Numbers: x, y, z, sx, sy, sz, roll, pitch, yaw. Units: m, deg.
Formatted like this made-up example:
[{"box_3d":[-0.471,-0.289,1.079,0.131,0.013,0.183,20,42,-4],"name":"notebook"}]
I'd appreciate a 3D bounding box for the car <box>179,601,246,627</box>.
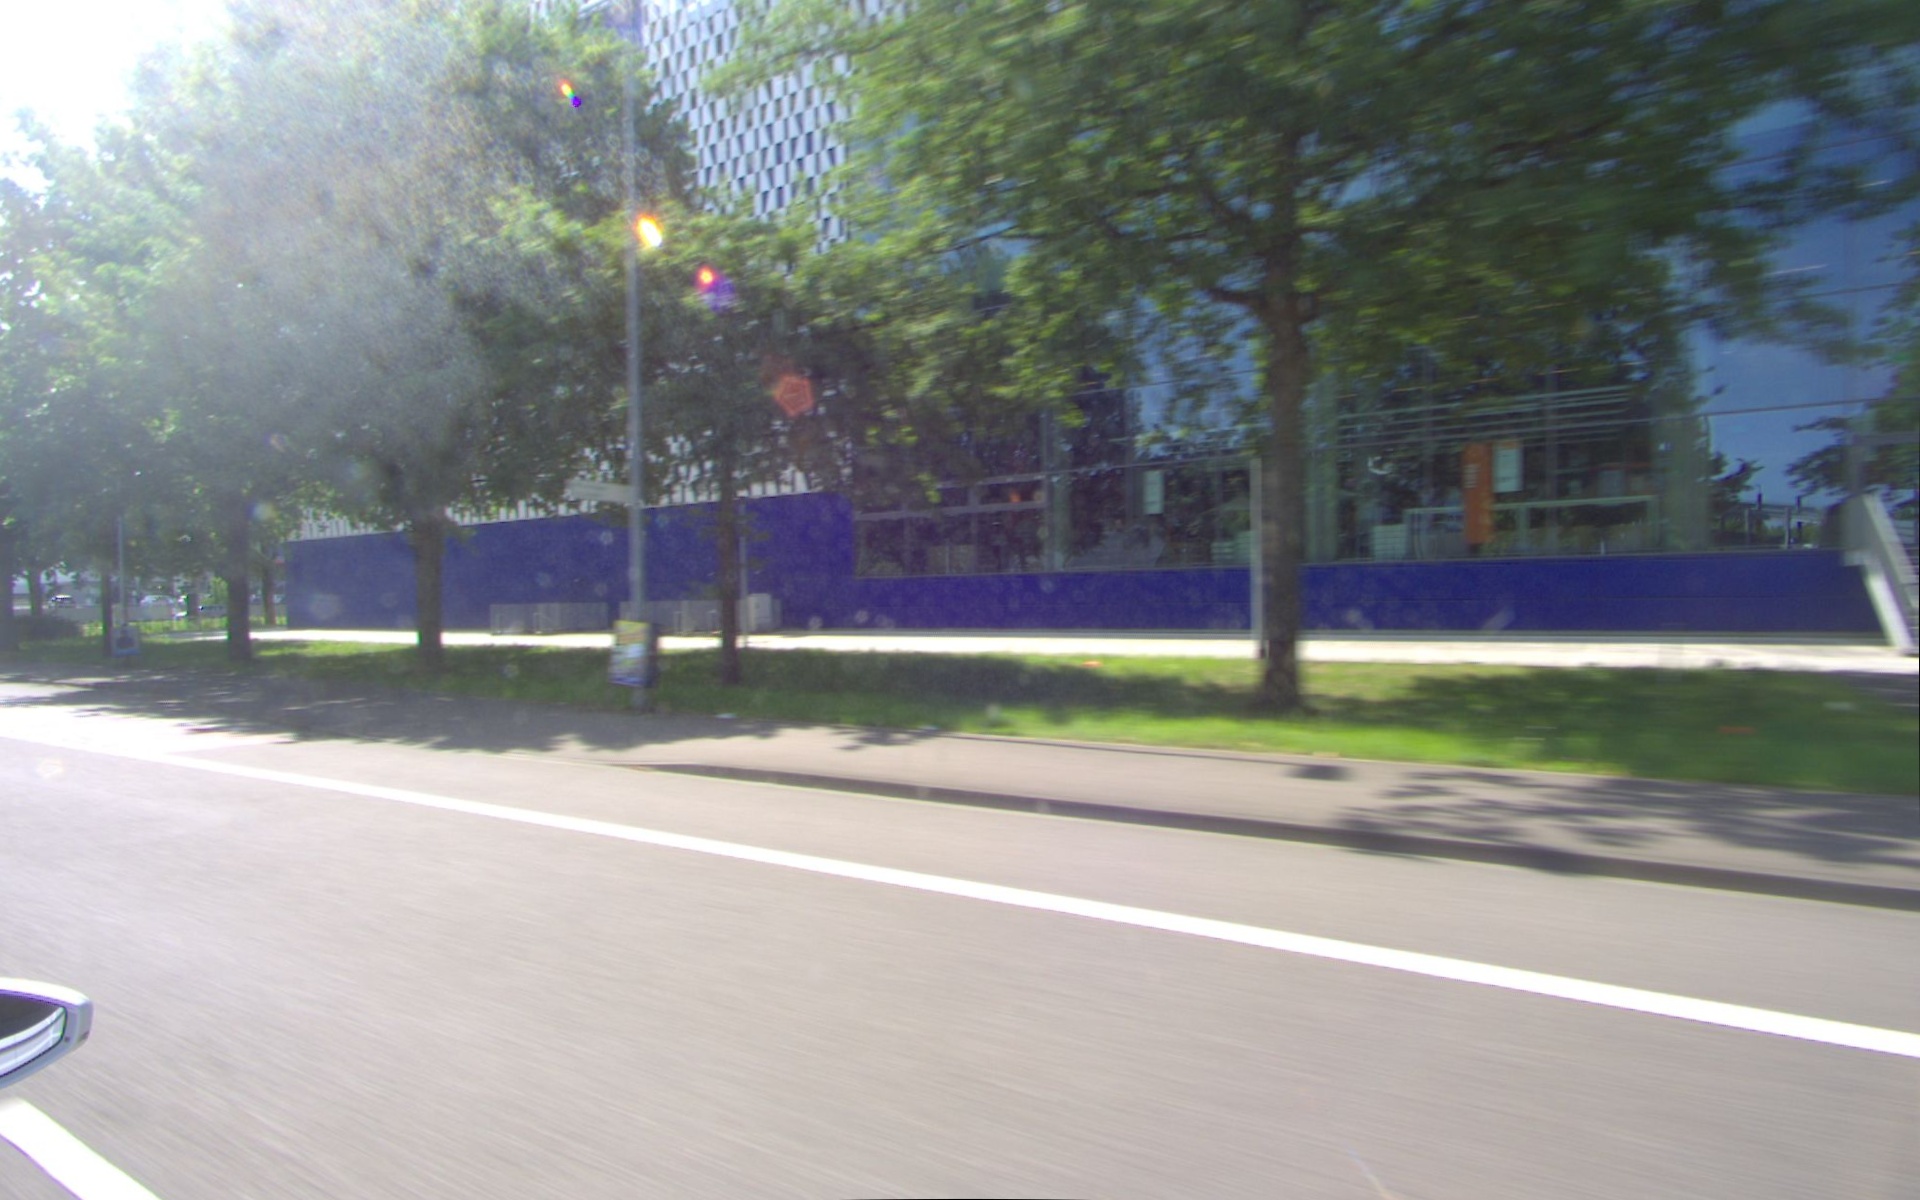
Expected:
[{"box_3d":[-65.814,1.188,88.193,1.462,2.022,4.384,0,3,36],"name":"car"}]
